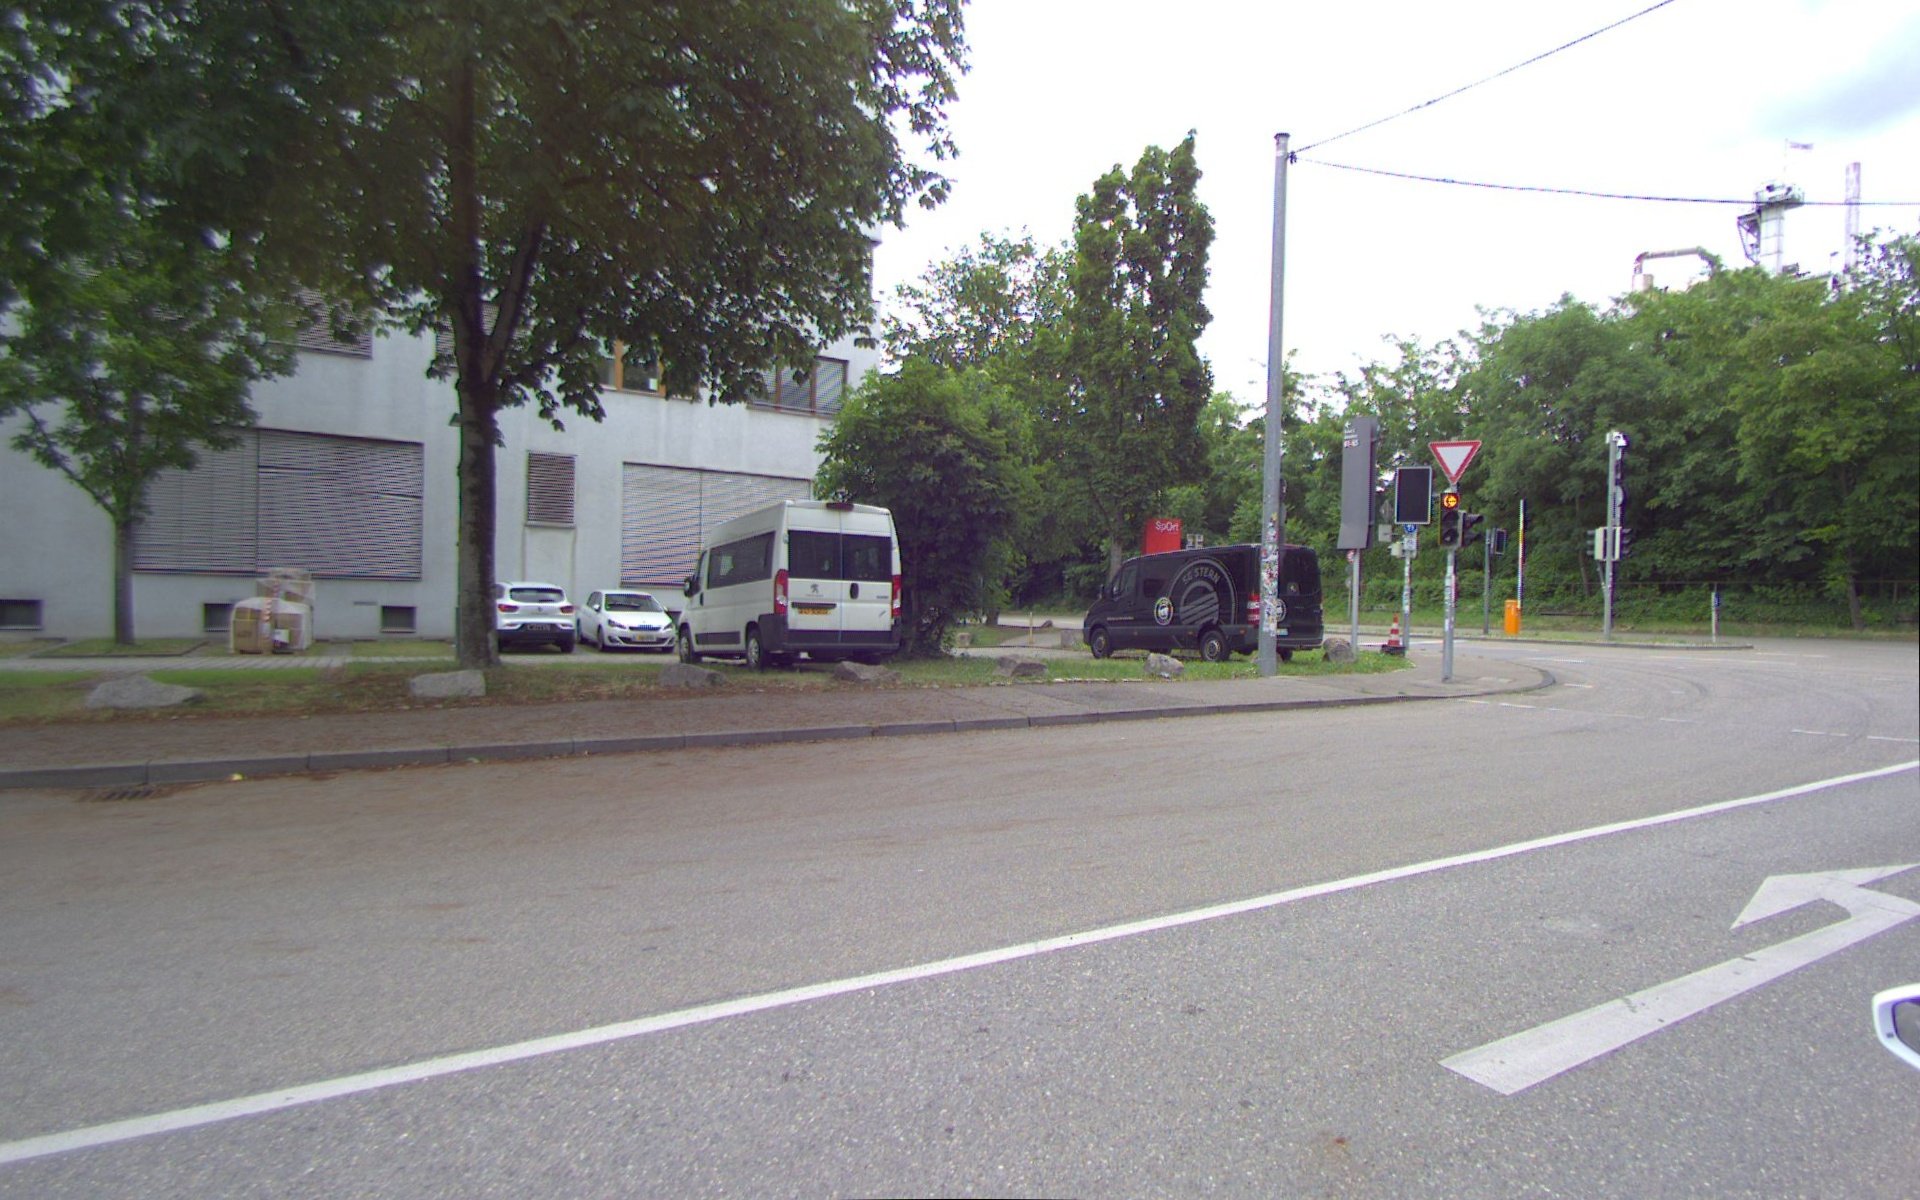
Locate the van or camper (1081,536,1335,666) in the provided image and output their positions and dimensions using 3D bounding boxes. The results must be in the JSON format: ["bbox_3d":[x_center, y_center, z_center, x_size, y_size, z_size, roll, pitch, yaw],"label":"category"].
[{"bbox_3d":[5.008,0.122,21.260,2.036,2.343,5.513,3,-3,-28],"label":"van or camper"}]

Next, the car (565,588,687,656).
[{"bbox_3d":[-8.557,0.519,25.543,1.881,1.475,3.972,3,0,-34],"label":"car"}]

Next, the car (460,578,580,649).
[{"bbox_3d":[-10.573,0.290,23.978,1.881,1.475,3.972,3,0,-34],"label":"car"}]

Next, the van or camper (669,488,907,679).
[{"bbox_3d":[-2.996,-0.244,16.413,2.039,2.604,4.943,3,0,-32],"label":"van or camper"}]
